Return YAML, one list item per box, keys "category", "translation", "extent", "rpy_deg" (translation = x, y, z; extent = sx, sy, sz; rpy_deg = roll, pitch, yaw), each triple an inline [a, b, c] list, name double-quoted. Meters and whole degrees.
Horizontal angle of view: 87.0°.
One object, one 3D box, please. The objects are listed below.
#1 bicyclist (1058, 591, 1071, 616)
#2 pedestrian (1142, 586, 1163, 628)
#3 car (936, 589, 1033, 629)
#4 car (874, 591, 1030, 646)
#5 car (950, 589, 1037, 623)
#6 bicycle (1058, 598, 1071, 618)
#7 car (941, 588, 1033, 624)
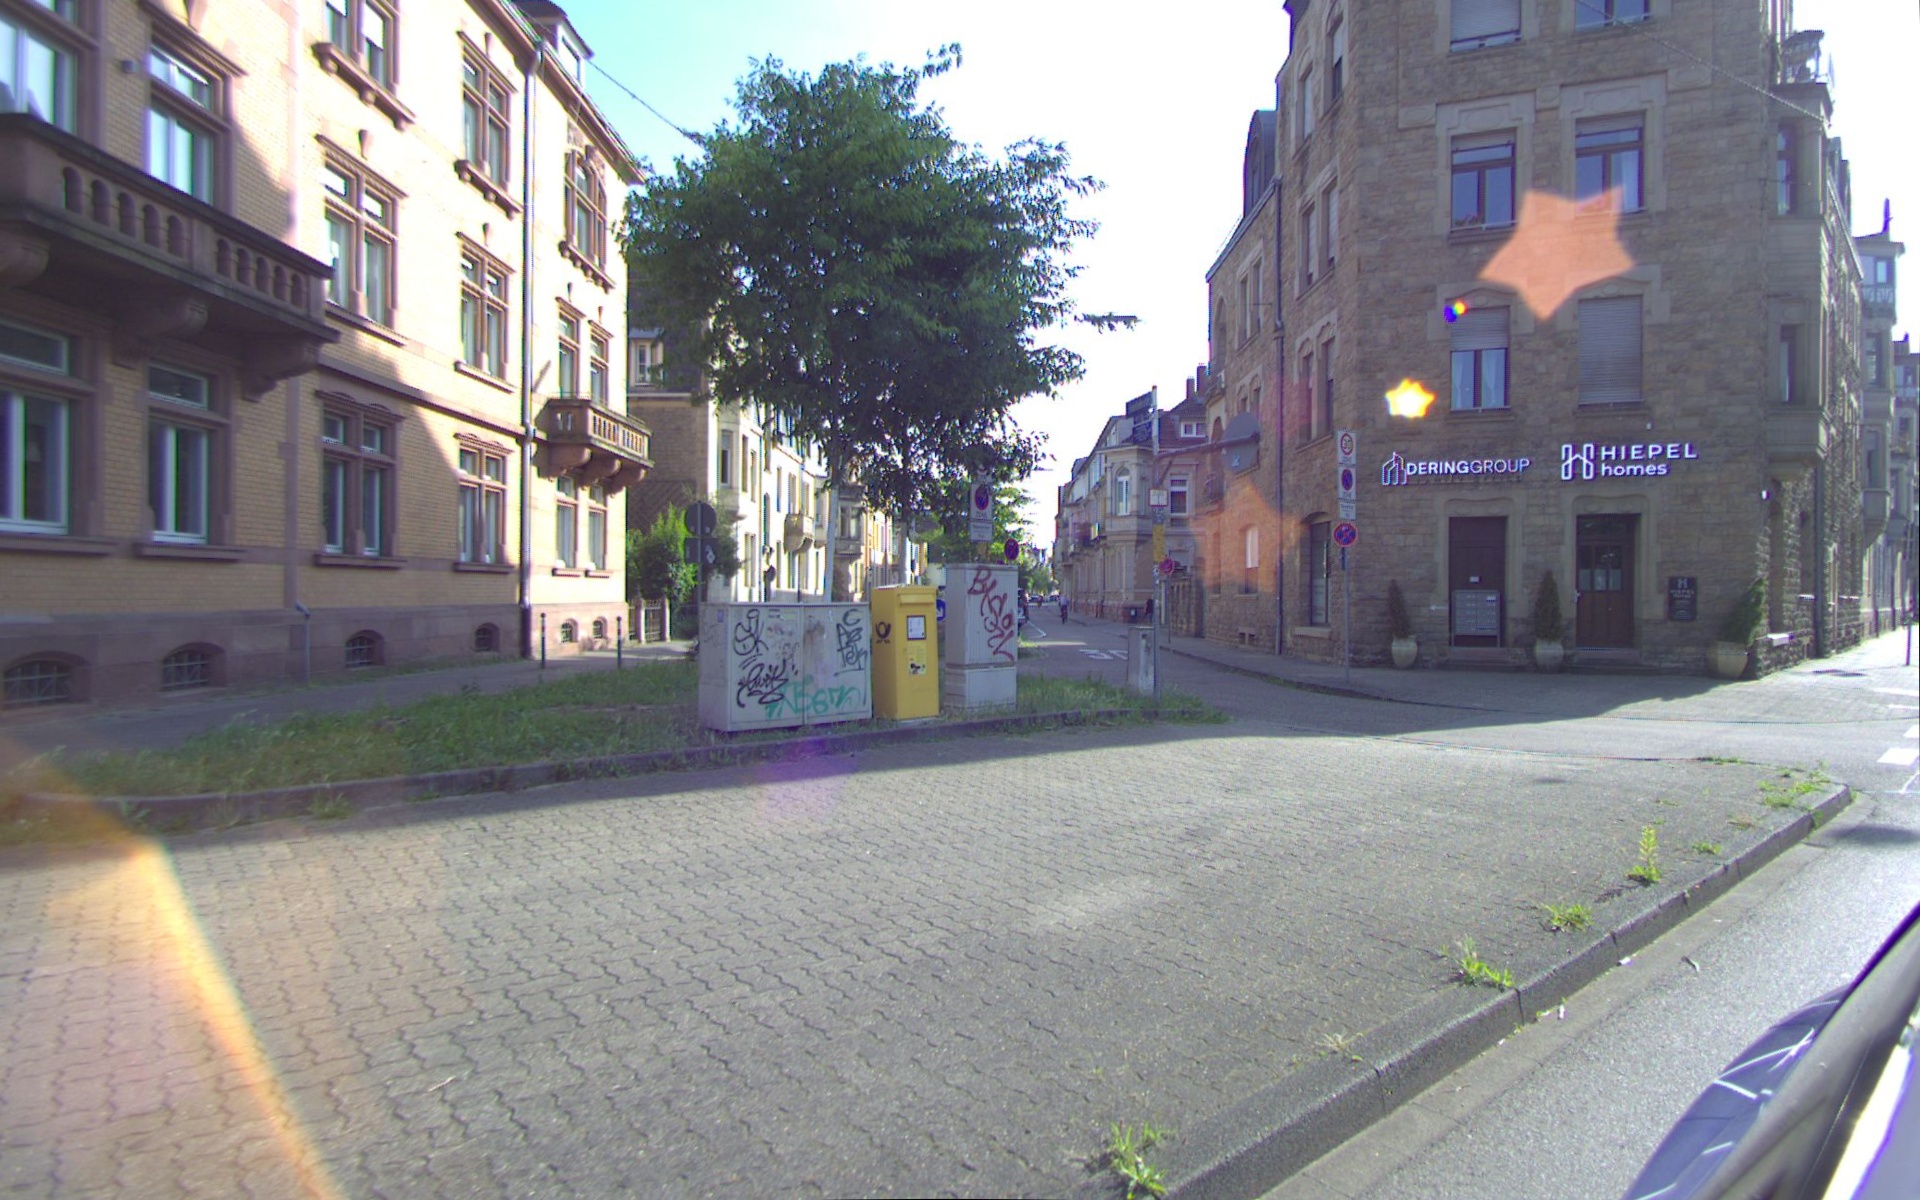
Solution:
- category: "bicyclist"
  translation: [6.217, 0.217, 60.405]
  extent: [0.731, 1.474, 0.653]
  rpy_deg: [0, -1, 4]
- category: "pedestrian"
  translation: [7.931, 0.276, 41.653]
  extent: [0.750, 1.696, 0.782]
  rpy_deg: [0, -1, 5]
- category: "car"
  translation: [1.063, 0.400, 45.352]
  extent: [3.979, 1.672, 1.972]
  rpy_deg: [-1, -1, 39]
- category: "car"
  translation: [-0.277, 0.530, 30.192]
  extent: [4.428, 1.533, 1.973]
  rpy_deg: [-1, -1, 38]
- category: "car"
  translation: [1.706, 0.323, 51.348]
  extent: [3.953, 1.672, 1.985]
  rpy_deg: [0, -1, 22]
- category: "bicycle"
  translation: [6.241, 0.497, 60.356]
  extent: [0.682, 1.171, 2.477]
  rpy_deg: [0, 0, 4]
- category: "car"
  translation: [1.299, 0.279, 48.198]
  extent: [3.953, 1.672, 1.985]
  rpy_deg: [0, -1, 22]
